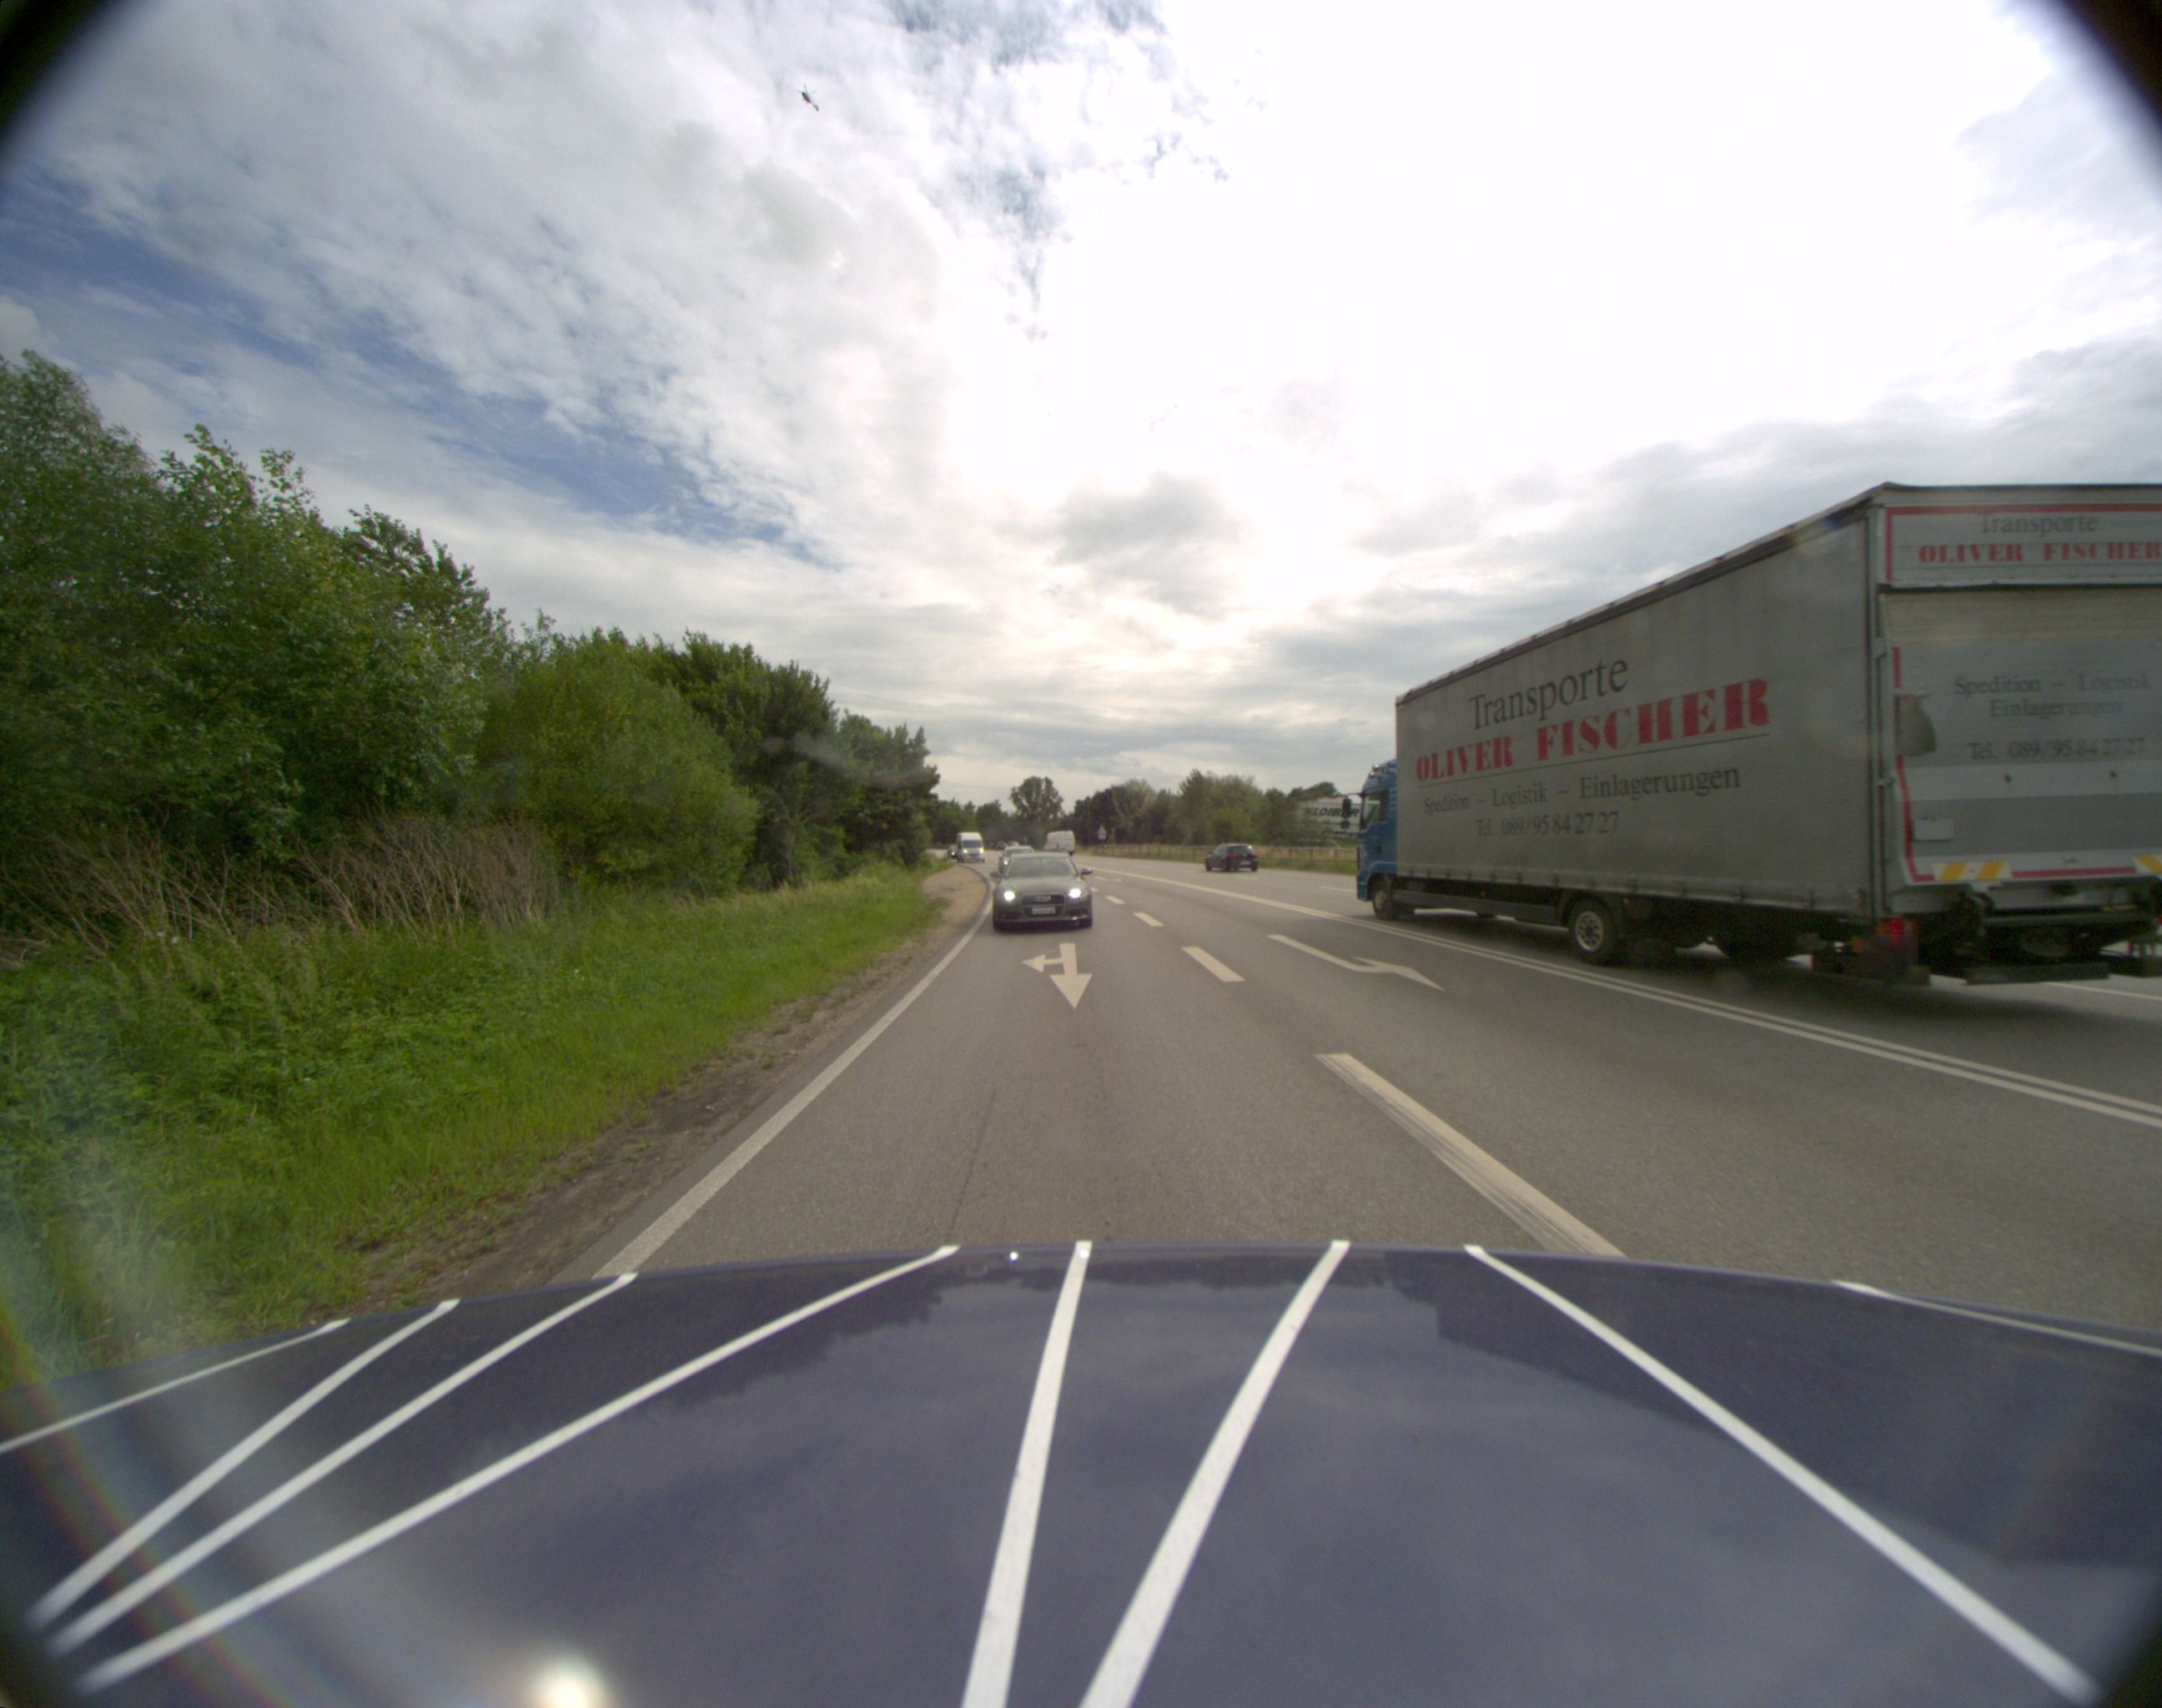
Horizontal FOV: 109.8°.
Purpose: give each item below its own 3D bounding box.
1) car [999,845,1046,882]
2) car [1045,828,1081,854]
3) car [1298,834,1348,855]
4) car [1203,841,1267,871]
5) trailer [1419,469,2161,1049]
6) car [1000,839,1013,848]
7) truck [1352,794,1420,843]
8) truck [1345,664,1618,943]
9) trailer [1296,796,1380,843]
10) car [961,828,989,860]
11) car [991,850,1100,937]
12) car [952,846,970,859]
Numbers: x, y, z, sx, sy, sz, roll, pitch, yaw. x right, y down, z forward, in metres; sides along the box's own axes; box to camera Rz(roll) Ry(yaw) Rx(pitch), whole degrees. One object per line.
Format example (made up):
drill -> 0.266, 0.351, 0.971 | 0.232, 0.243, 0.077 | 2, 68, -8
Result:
car -> -2.957, 0.406, 37.623 | 2.022, 1.604, 4.276 | -2, 2, -8
car -> -2.025, -1.378, 82.902 | 2.443, 2.659, 6.878 | -2, 1, -14
car -> 23.640, -0.947, 74.418 | 4.538, 1.865, 2.001 | -1, 2, 14
car -> 7.936, 0.073, 39.601 | 1.952, 1.433, 3.996 | -2, 1, -9
trailer -> 6.766, -0.720, 8.780 | 2.534, 4.077, 6.733 | -1, 1, -2
car -> -11.929, -1.723, 121.263 | 1.814, 1.433, 4.348 | -2, 1, -10
truck -> 32.477, -3.710, 81.055 | 2.809, 4.969, 6.173 | -4, 3, -37
truck -> 6.624, -0.772, 13.221 | 2.546, 4.073, 3.999 | -1, 1, -2
trailer -> 28.878, -3.777, 85.863 | 2.812, 4.969, 8.959 | -4, 3, -37
car -> -9.709, -0.887, 69.315 | 2.221, 2.655, 5.234 | -4, 1, -10
car -> -0.869, 0.705, 15.813 | 1.958, 1.527, 3.997 | -1, 1, -7
car -> -12.882, -0.144, 81.452 | 1.732, 1.357, 3.995 | 0, 1, -13
